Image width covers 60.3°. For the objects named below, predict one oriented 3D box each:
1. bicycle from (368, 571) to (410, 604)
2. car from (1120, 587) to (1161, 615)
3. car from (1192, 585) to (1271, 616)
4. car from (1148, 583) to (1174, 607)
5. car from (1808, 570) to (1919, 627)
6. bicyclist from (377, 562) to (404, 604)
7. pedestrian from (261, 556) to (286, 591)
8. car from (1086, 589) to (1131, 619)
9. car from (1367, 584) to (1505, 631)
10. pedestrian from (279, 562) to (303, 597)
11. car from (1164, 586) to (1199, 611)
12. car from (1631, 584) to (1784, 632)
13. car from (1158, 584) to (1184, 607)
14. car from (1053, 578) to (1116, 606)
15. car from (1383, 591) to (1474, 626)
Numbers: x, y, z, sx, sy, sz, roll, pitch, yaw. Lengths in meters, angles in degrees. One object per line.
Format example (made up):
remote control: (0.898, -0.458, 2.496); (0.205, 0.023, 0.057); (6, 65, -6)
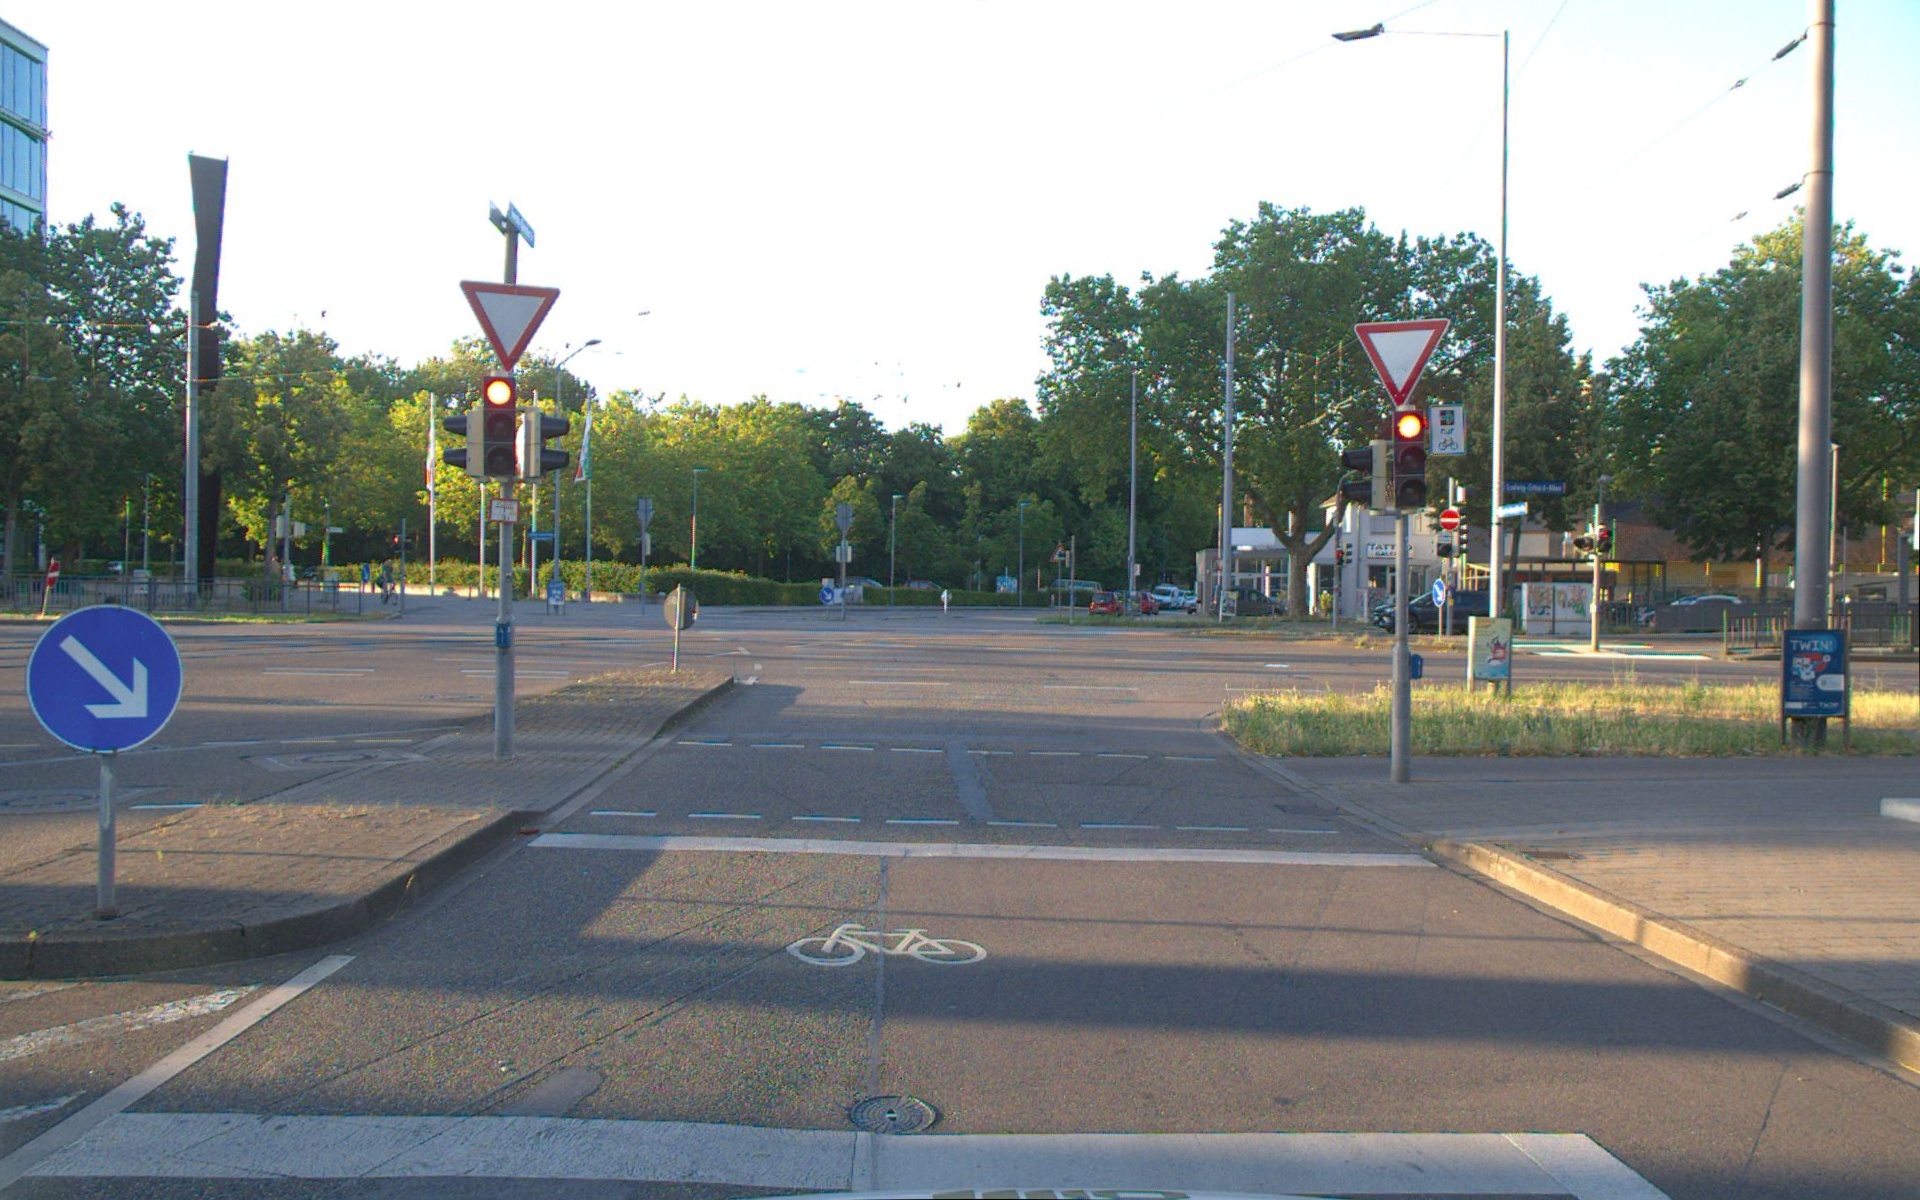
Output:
bicycle: (-23.740, -0.526, 68.738); (0.725, 1.364, 2.652); (0, 1, -40)
car: (11.314, 0.096, 103.534); (1.951, 1.691, 4.003); (0, -1, 14)
car: (14.649, 0.026, 89.381); (4.129, 1.579, 2.001); (1, -1, 7)
car: (15.993, -0.360, 131.429); (1.823, 1.825, 4.003); (1, -1, 10)
car: (43.677, -0.073, 78.668); (5.476, 2.596, 2.231); (1, 0, 7)
bicyclist: (-23.639, -0.715, 68.643); (0.746, 1.739, 0.906); (1, 0, -41)
pedestrian: (-35.327, -1.341, 85.101); (0.845, 1.774, 0.828); (1, 0, 33)
car: (8.617, 0.222, 95.805); (1.951, 1.691, 4.003); (0, -1, 14)
car: (16.338, 0.266, 56.867); (4.242, 1.522, 1.804); (1, -1, 1)
pedestrian: (-34.737, -1.053, 85.876); (0.845, 1.774, 0.828); (1, 0, 33)
car: (15.550, -0.062, 115.826); (1.951, 1.691, 4.003); (0, -1, 14)
car: (24.687, 0.267, 54.717); (4.240, 1.522, 1.805); (1, -1, 3)
car: (17.401, -0.350, 136.345); (1.823, 1.825, 4.003); (0, -1, 12)
car: (9.503, -0.587, 126.019); (4.675, 2.041, 2.000); (1, -1, 1)
car: (20.498, 0.387, 72.419); (3.659, 1.465, 1.665); (1, -1, 9)
